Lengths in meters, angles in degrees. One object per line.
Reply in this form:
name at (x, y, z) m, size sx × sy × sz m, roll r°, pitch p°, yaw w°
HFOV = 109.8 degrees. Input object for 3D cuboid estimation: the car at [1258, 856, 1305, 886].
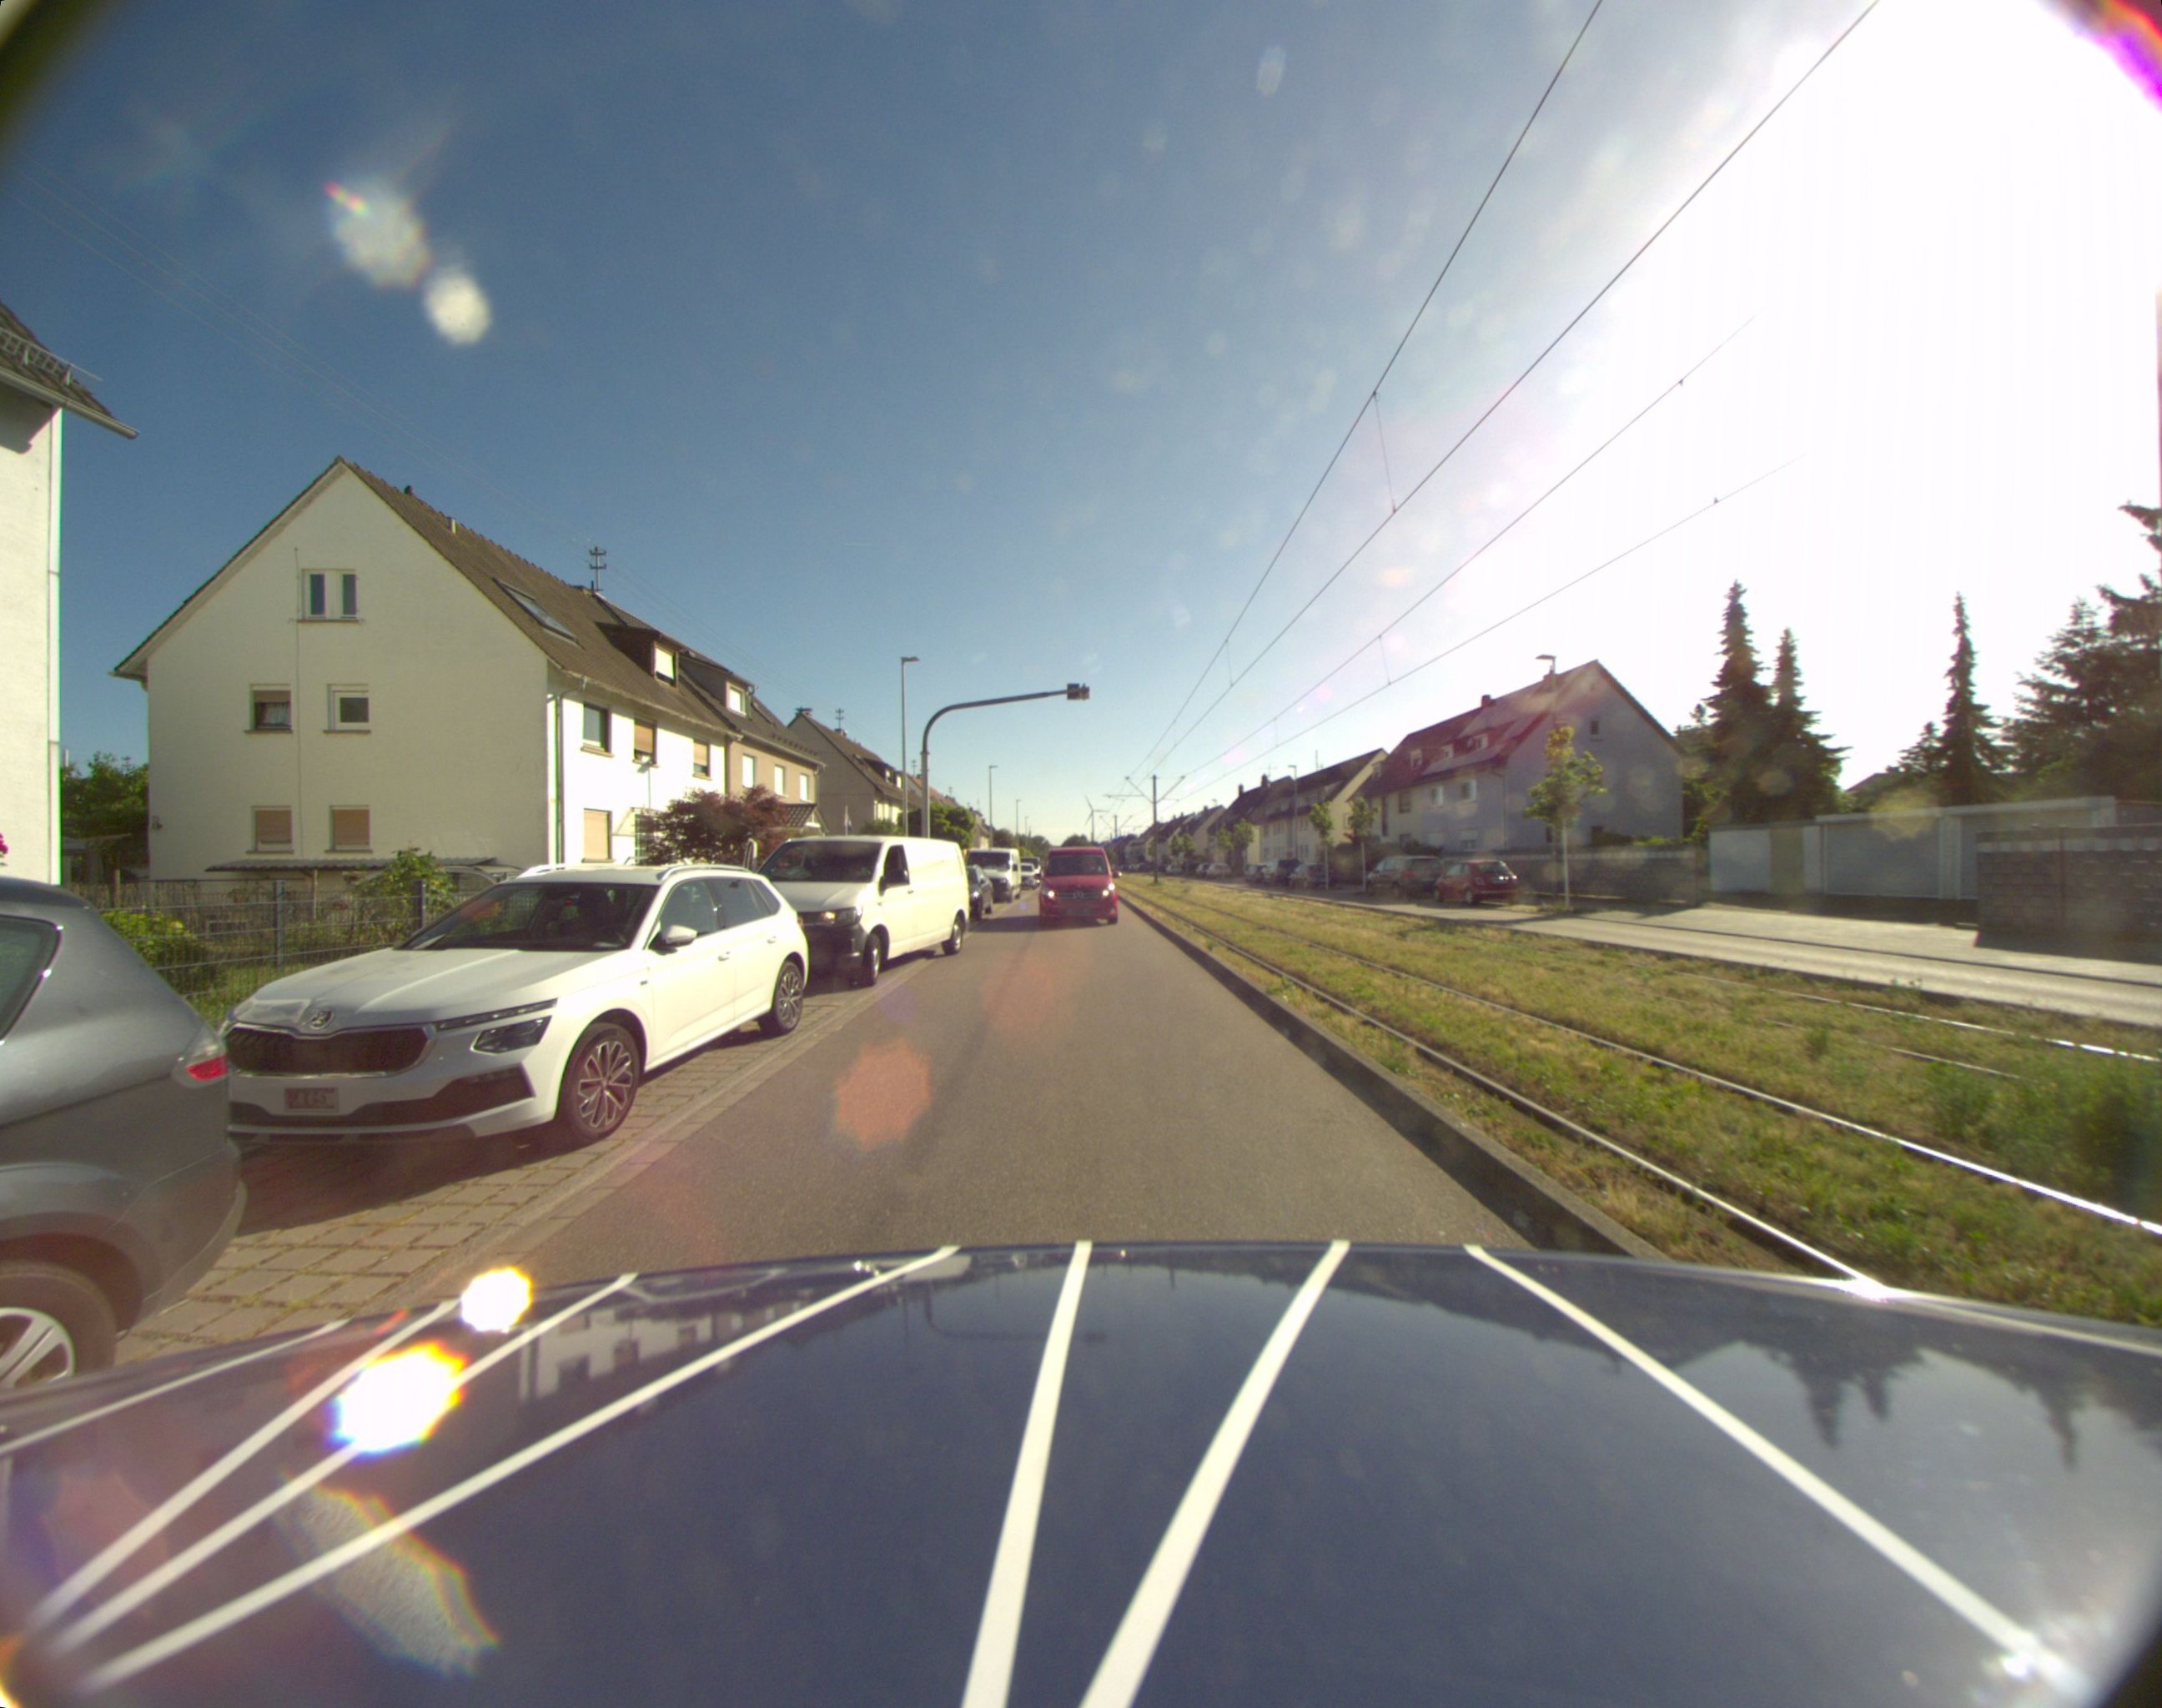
car at (13.340, 1.088, 50.750) m, size 1.750 × 1.812 × 4.841 m, roll -3°, pitch 0°, yaw 0°

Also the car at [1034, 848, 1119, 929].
car at (-0.215, 0.834, 21.105) m, size 1.999 × 1.889 × 5.389 m, roll -2°, pitch 0°, yaw -2°

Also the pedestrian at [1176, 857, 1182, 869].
pedestrian at (14.087, 1.301, 109.052) m, size 0.617 × 1.804 × 0.678 m, roll -2°, pitch 1°, yaw -10°

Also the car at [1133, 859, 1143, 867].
car at (10.657, 1.709, 141.990) m, size 1.469 × 1.459 × 3.998 m, roll 0°, pitch -1°, yaw -3°

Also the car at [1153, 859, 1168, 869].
car at (12.015, 1.483, 115.093) m, size 1.623 × 1.503 × 4.085 m, roll -2°, pitch 0°, yaw -1°

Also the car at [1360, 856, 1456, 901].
car at (13.507, 0.958, 31.730) m, size 1.824 × 1.674 × 4.846 m, roll -3°, pitch 0°, yaw 0°

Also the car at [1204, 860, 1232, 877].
car at (13.202, 1.348, 73.271) m, size 1.693 × 1.467 × 4.442 m, roll -2°, pitch 0°, yaw -3°

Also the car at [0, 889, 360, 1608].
car at (-3.368, 0.923, 0.192) m, size 1.796 × 1.619 × 4.860 m, roll 1°, pitch 0°, yaw -1°

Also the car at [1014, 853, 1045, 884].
car at (-3.652, 1.018, 54.881) m, size 1.965 × 2.131 × 5.335 m, roll 0°, pitch 0°, yaw -1°

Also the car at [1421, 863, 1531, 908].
car at (13.559, 1.028, 26.339) m, size 1.699 × 1.396 × 4.078 m, roll 0°, pitch 0°, yaw 0°

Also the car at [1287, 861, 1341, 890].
car at (13.653, 1.225, 44.708) m, size 1.681 × 1.482 × 4.049 m, roll -3°, pitch 0°, yaw -3°

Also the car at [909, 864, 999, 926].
car at (-3.507, 1.067, 21.883) m, size 1.753 × 1.485 × 5.154 m, roll 1°, pitch 0°, yaw 0°

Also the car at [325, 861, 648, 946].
car at (-11.419, 0.904, 14.886) m, size 4.724 × 1.469 × 1.906 m, roll 0°, pitch 1°, yaw -2°

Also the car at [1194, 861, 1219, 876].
car at (13.068, 1.515, 79.400) m, size 1.693 × 1.464 × 4.313 m, roll -2°, pitch 0°, yaw -3°

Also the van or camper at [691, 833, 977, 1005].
van or camper at (-3.198, 0.759, 11.299) m, size 2.032 × 1.945 × 5.297 m, roll 0°, pitch 0°, yaw 6°

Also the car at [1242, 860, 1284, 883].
car at (13.493, 1.297, 56.691) m, size 1.965 × 1.531 × 4.556 m, roll -2°, pitch 0°, yaw -1°

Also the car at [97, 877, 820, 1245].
car at (-3.457, 0.976, 5.426) m, size 1.660 × 1.484 × 4.160 m, roll 0°, pitch 0°, yaw 1°

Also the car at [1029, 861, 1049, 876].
car at (-4.253, 1.490, 78.129) m, size 1.782 × 1.490 × 4.728 m, roll 0°, pitch 0°, yaw 0°

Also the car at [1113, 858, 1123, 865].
car at (8.528, 1.817, 175.753) m, size 1.832 × 1.522 × 4.091 m, roll -2°, pitch 0°, yaw -2°

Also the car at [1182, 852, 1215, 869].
car at (17.101, 0.928, 110.768) m, size 4.472 × 2.068 × 1.787 m, roll -4°, pitch 1°, yaw -1°

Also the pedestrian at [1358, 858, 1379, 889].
pedestrian at (15.371, 1.023, 40.631) m, size 0.697 × 1.630 × 0.919 m, roll -2°, pitch 1°, yaw -3°

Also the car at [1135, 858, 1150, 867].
car at (11.012, 1.540, 136.708) m, size 1.926 × 1.551 × 4.857 m, roll -2°, pitch 0°, yaw -3°

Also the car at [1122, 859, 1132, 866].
car at (9.739, 1.804, 161.947) m, size 1.705 × 1.389 × 4.091 m, roll -2°, pitch 0°, yaw -2°

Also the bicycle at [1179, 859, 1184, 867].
bicycle at (14.459, 1.332, 109.155) m, size 0.478 × 1.156 × 1.872 m, roll -2°, pitch 0°, yaw 4°

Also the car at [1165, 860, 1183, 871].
car at (12.547, 1.586, 102.414) m, size 1.662 × 1.428 × 4.102 m, roll -1°, pitch 0°, yaw -3°

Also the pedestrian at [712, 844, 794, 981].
pedestrian at (-4.707, 0.816, 10.944) m, size 0.700 × 1.901 × 0.759 m, roll -2°, pitch 1°, yaw 8°

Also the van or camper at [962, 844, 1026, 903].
van or camper at (-3.597, 0.750, 32.520) m, size 1.999 × 2.257 × 6.304 m, roll 1°, pitch 0°, yaw 0°

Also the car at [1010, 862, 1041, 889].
car at (-3.511, 1.339, 48.709) m, size 1.730 × 1.636 × 4.318 m, roll 1°, pitch 0°, yaw -1°
